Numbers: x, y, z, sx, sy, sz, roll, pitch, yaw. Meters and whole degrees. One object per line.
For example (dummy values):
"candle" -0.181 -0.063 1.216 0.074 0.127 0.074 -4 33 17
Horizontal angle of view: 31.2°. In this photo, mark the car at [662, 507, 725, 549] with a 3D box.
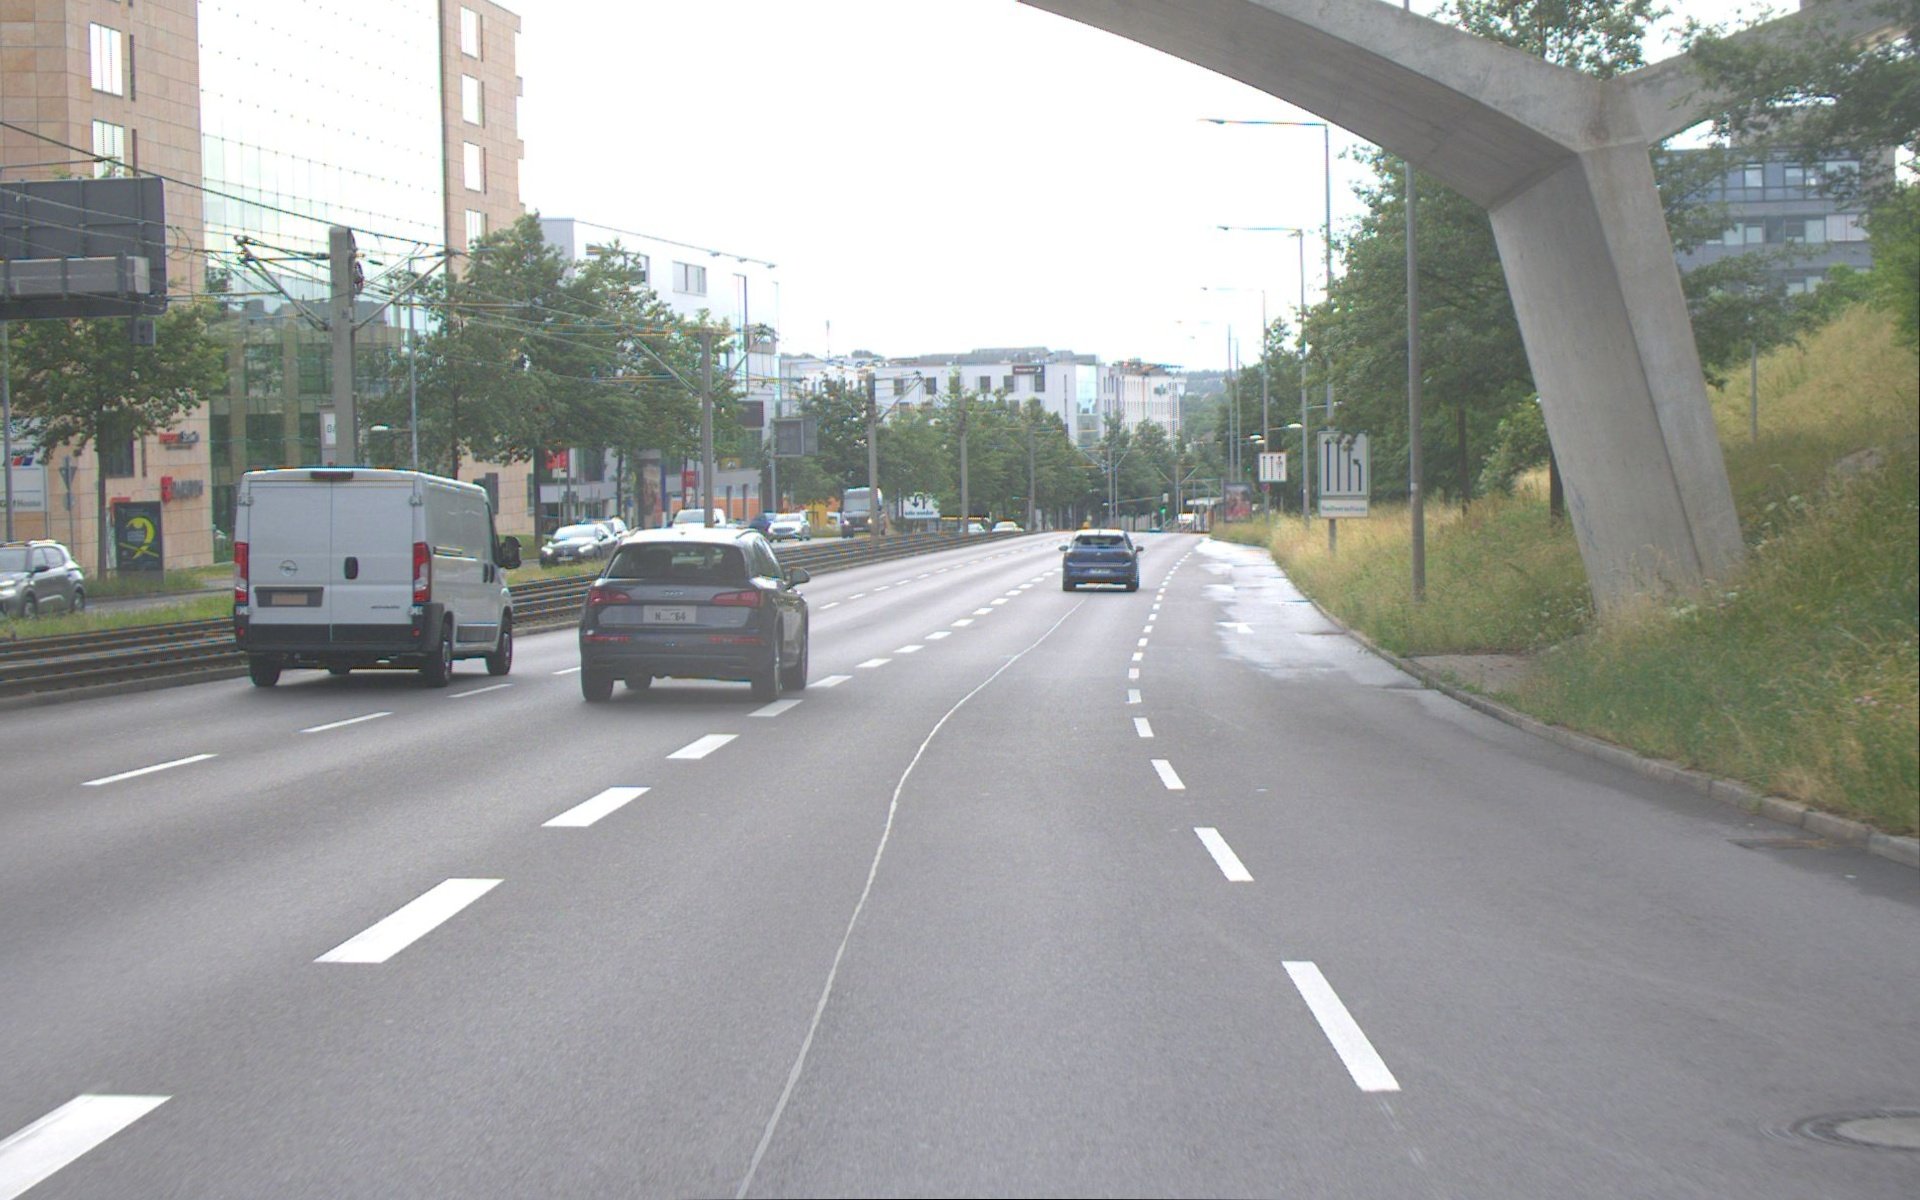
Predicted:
"car" -11.625 -3.161 150.099 1.938 1.755 5.062 1 2 5

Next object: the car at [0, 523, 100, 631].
"car" -16.716 -0.435 60.184 1.921 1.770 4.224 1 2 5

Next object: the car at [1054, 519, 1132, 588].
"car" 3.162 -1.117 82.330 1.789 1.585 4.000 -1 1 2

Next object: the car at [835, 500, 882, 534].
"car" -5.398 -4.447 183.704 1.938 1.755 4.809 1 2 5

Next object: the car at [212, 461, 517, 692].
"car" -6.257 -0.312 36.702 2.268 2.277 4.760 1 2 2

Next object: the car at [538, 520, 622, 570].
"car" -12.396 -1.809 112.339 1.810 1.528 4.869 1 2 5

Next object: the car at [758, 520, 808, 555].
"car" -9.230 -3.266 179.366 1.938 1.755 4.809 1 2 5

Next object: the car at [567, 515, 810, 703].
"car" -2.582 0.075 33.597 1.922 1.705 4.098 1 0 2
